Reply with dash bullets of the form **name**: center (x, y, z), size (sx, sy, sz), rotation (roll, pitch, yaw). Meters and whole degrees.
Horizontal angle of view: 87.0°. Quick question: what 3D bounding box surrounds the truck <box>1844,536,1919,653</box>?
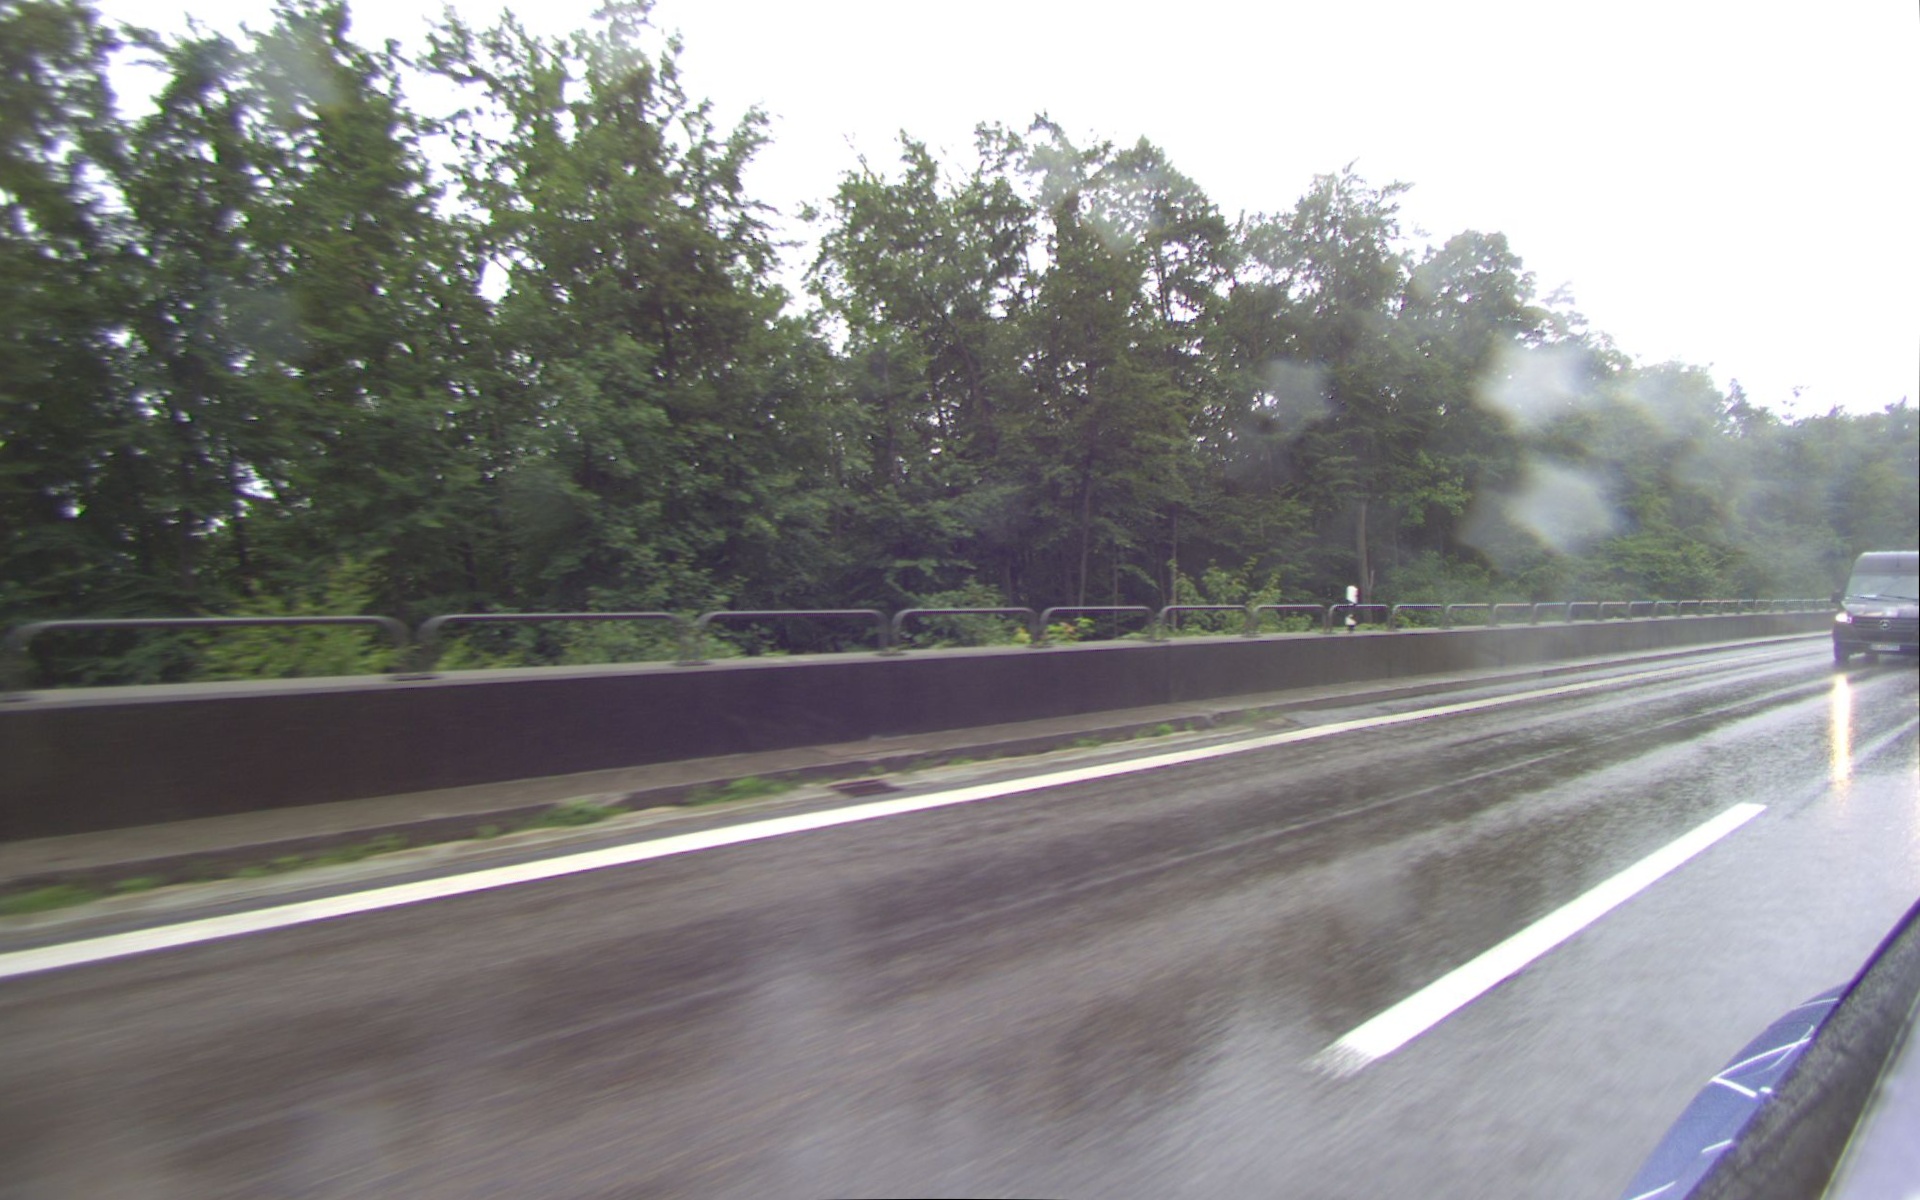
- **truck**: center (23.645, -0.137, 24.669), size (7.862, 2.527, 2.107), rotation (0, 0, -41)
